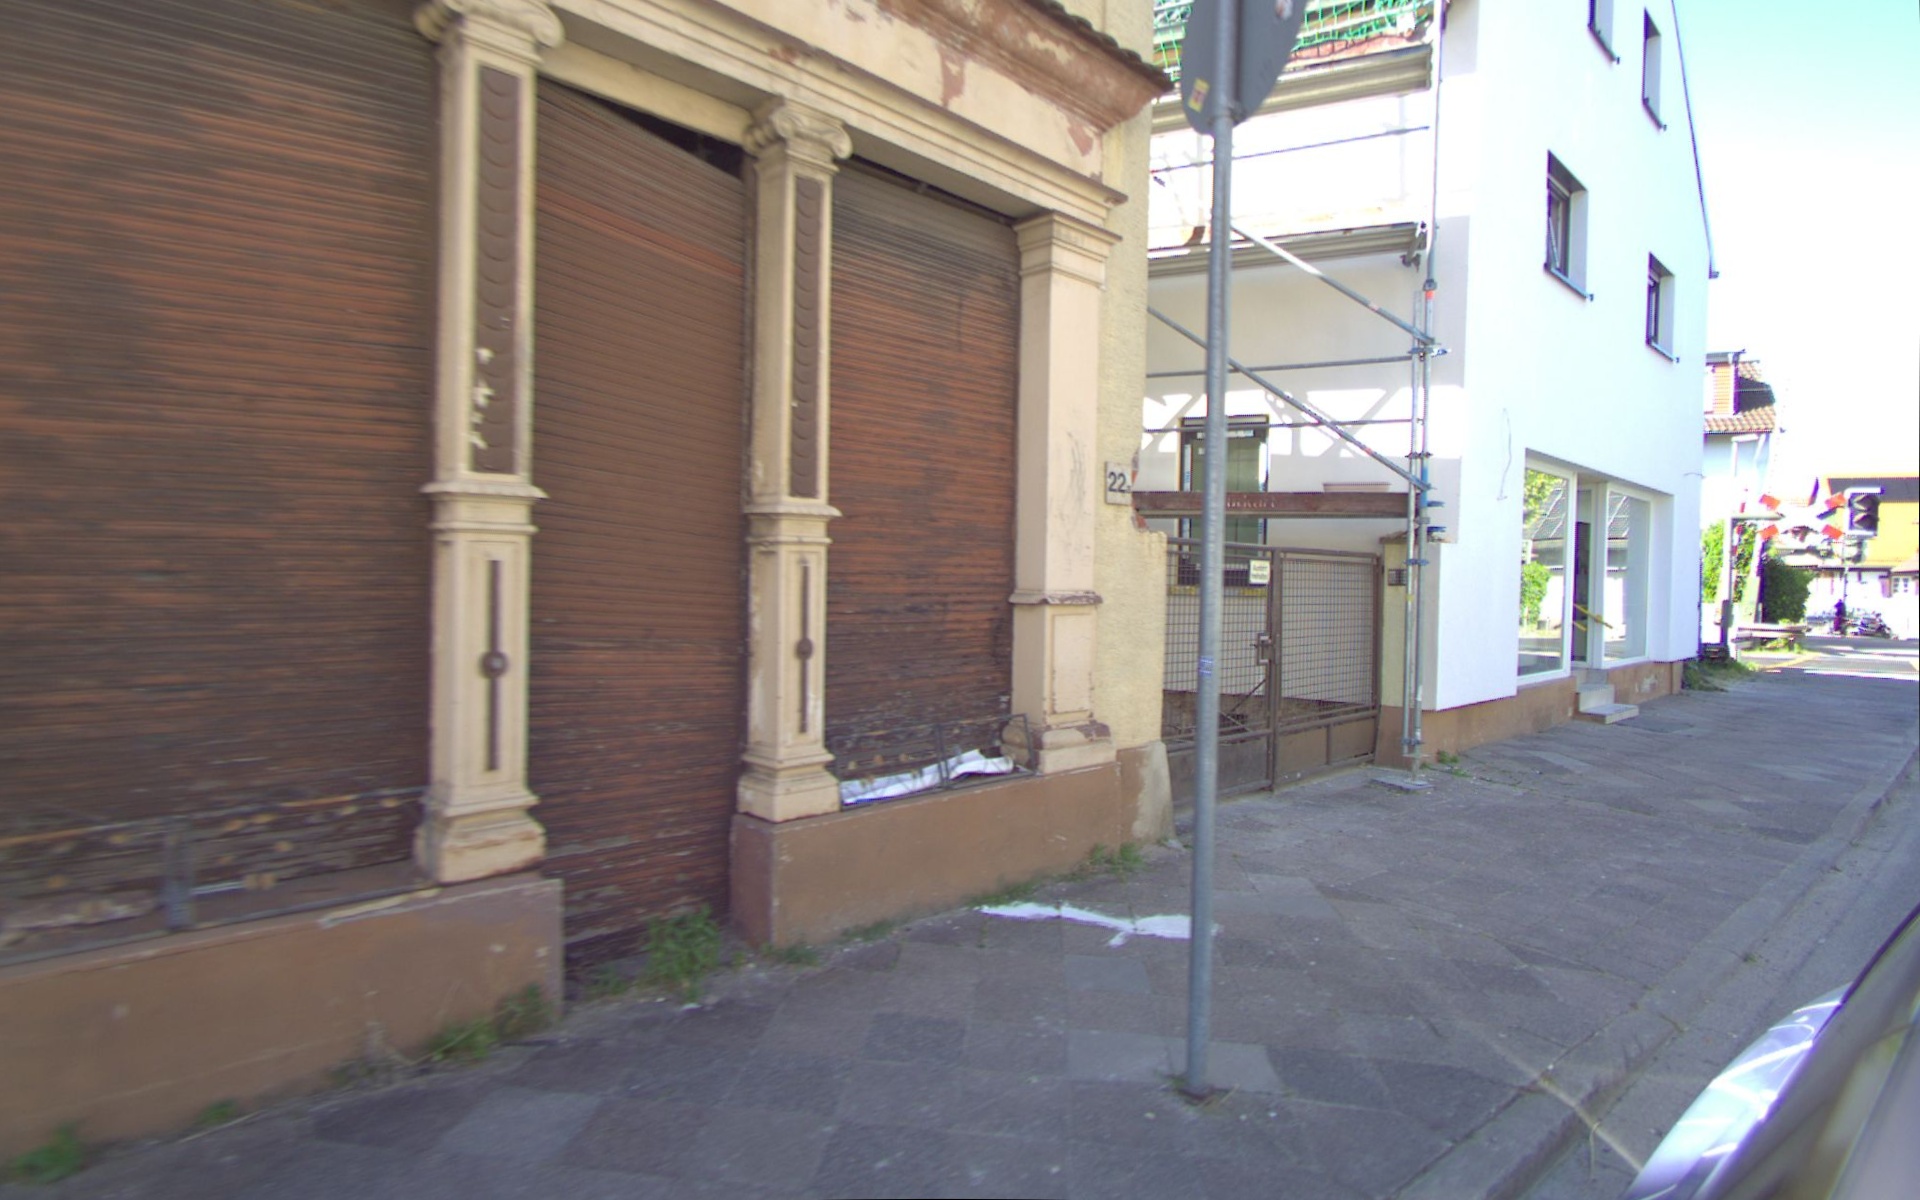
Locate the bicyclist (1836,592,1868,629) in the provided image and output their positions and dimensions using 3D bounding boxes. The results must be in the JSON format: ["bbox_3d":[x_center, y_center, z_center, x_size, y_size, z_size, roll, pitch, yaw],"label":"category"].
[{"bbox_3d":[38.872,0.452,44.099,0.843,1.560,0.865,-1,2,28],"label":"bicyclist"}]

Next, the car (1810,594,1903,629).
[{"bbox_3d":[42.733,0.506,48.366,1.831,1.423,4.996,2,2,24],"label":"car"}]

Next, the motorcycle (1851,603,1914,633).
[{"bbox_3d":[41.241,0.795,45.277,0.613,1.247,1.999,1,1,-21],"label":"motorcycle"}]

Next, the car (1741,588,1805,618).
[{"bbox_3d":[47.317,0.117,58.987,1.770,1.624,4.326,1,1,24],"label":"car"}]

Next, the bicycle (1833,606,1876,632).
[{"bbox_3d":[38.864,0.824,44.018,0.877,1.017,2.044,0,2,26],"label":"bicycle"}]
